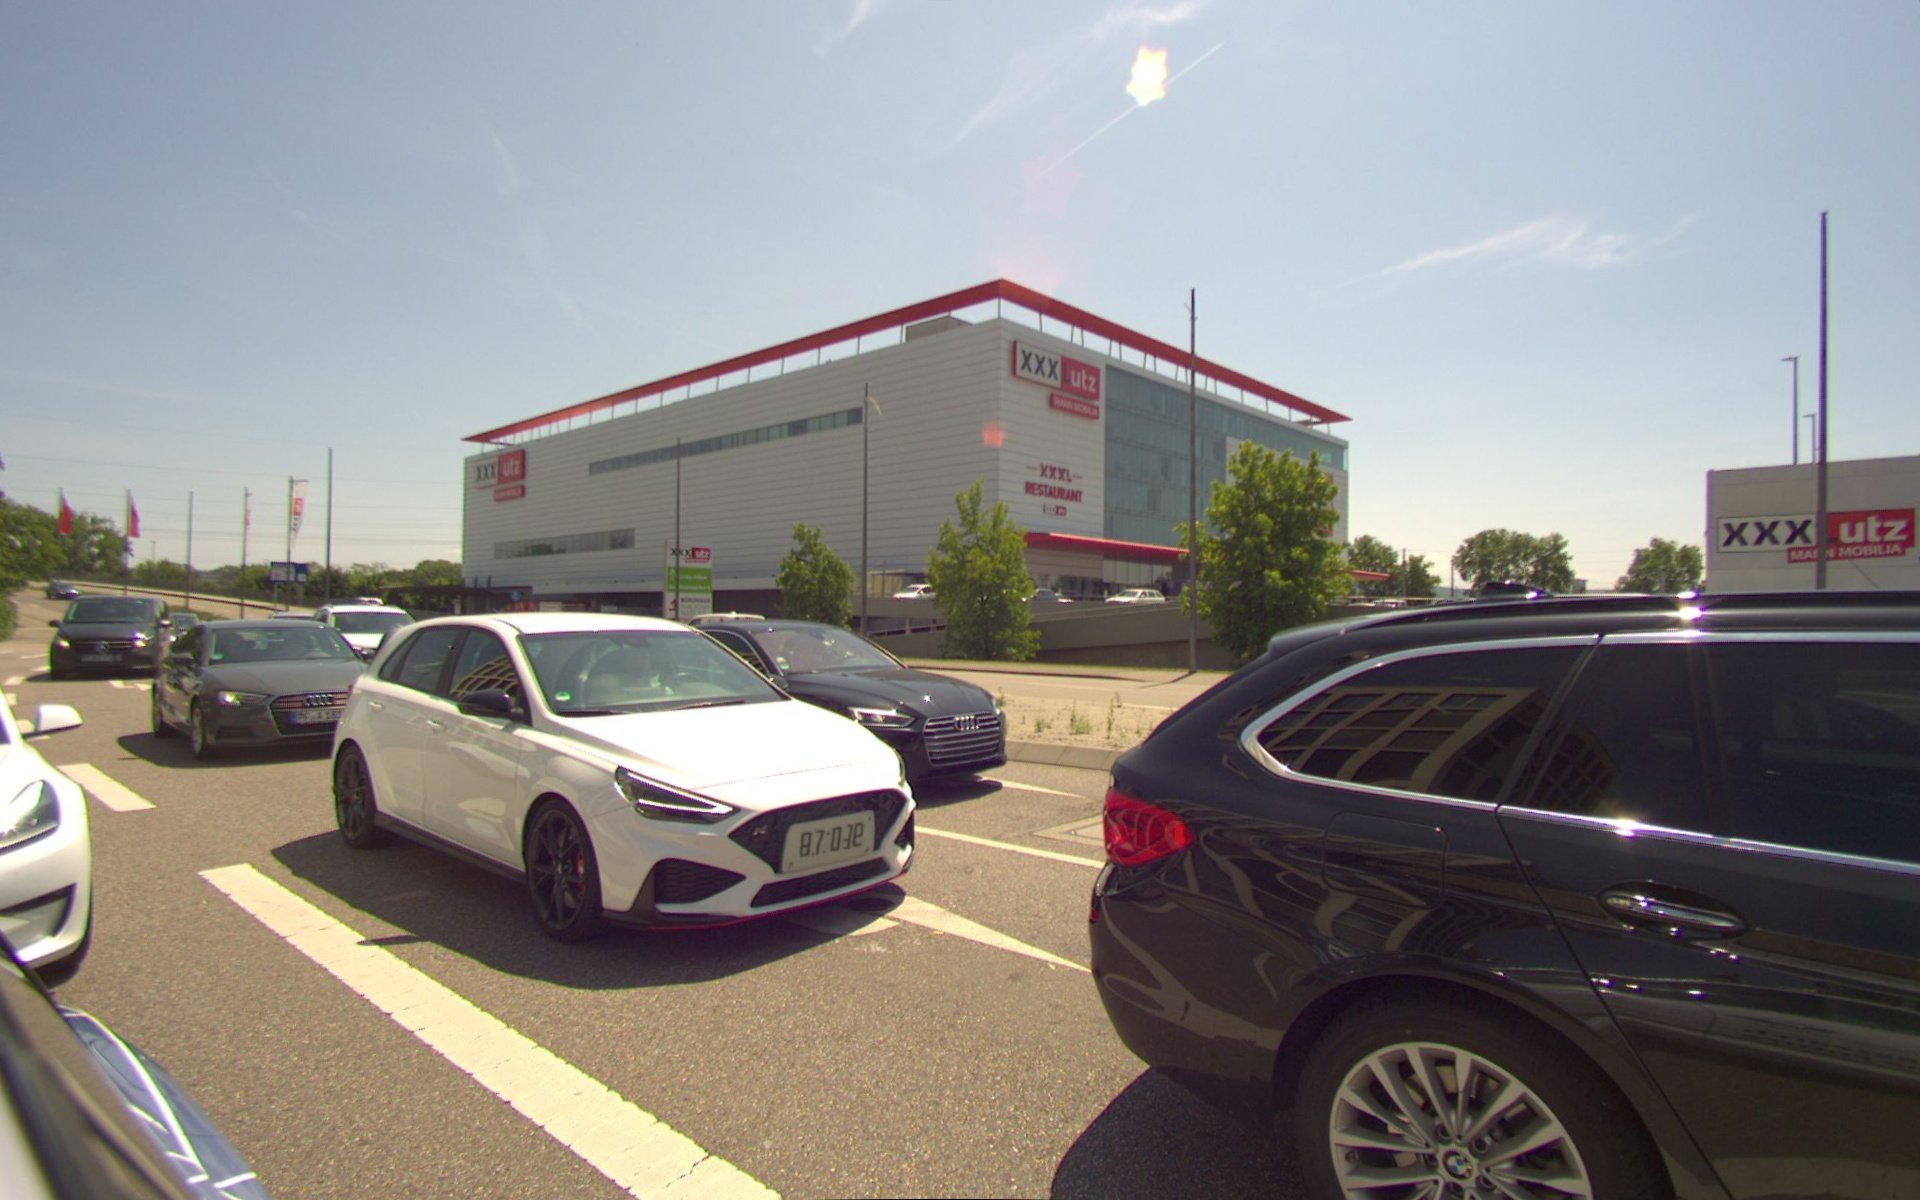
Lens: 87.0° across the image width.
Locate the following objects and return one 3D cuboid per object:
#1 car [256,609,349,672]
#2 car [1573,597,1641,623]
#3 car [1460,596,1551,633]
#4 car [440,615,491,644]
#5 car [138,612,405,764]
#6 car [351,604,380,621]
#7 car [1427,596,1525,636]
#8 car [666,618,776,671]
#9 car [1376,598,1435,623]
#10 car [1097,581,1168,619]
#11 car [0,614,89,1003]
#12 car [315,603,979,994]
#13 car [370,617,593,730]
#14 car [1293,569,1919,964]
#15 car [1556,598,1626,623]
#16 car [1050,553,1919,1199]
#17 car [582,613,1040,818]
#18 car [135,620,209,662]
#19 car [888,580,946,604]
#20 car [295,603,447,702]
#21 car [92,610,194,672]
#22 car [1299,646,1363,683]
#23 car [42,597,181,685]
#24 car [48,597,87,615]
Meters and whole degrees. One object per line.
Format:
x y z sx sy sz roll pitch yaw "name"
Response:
-16.464 0.970 25.271 1.742 1.433 3.908 -1 -1 -36 "car"
52.097 0.815 81.504 4.328 2.029 1.972 0 -2 42 "car"
30.829 0.832 57.246 4.323 2.029 1.975 0 -2 38 "car"
-31.116 1.874 63.648 1.839 1.736 4.048 2 -3 -42 "car"
-7.863 0.858 11.396 1.745 1.393 4.092 2 -2 -45 "car"
-79.551 1.675 135.365 4.815 2.300 2.162 -1 -2 44 "car"
27.129 0.857 53.252 4.323 2.029 1.974 0 -2 38 "car"
-8.262 1.512 34.768 1.840 1.736 4.045 2 -3 -45 "car"
36.278 0.863 82.452 4.000 1.915 1.972 -1 -2 43 "car"
9.845 0.040 57.424 4.407 2.029 1.680 2 -2 -44 "car"
-5.620 0.808 4.706 4.282 1.447 1.800 -1 0 41 "car"
-2.013 0.765 5.786 4.068 1.447 1.769 -1 -1 41 "car"
-7.250 0.990 15.091 1.744 1.413 4.435 0 -1 -43 "car"
3.781 0.608 4.537 4.009 1.433 1.674 -2 -1 43 "car"
45.822 0.741 73.534 4.134 1.754 1.759 0 -2 42 "car"
2.527 0.658 1.738 4.553 1.451 1.779 -1 -1 40 "car"
-1.556 0.866 9.193 4.466 1.415 1.654 -2 -1 42 "car"
-28.238 1.441 36.344 1.582 1.451 3.744 1 -2 -30 "car"
-2.939 -0.529 69.272 1.717 1.519 3.944 -1 -2 42 "car"
-11.362 0.910 19.365 1.743 1.653 4.498 0 0 -40 "car"
-23.419 1.148 29.148 1.784 1.652 4.011 1 -2 -32 "car"
19.037 3.287 51.898 1.997 1.719 3.949 -1 -2 38 "car"
-19.619 0.892 23.616 1.865 1.835 4.850 1 -1 -33 "car"
-89.679 0.612 101.667 3.983 1.829 1.661 0 -2 29 "car"
